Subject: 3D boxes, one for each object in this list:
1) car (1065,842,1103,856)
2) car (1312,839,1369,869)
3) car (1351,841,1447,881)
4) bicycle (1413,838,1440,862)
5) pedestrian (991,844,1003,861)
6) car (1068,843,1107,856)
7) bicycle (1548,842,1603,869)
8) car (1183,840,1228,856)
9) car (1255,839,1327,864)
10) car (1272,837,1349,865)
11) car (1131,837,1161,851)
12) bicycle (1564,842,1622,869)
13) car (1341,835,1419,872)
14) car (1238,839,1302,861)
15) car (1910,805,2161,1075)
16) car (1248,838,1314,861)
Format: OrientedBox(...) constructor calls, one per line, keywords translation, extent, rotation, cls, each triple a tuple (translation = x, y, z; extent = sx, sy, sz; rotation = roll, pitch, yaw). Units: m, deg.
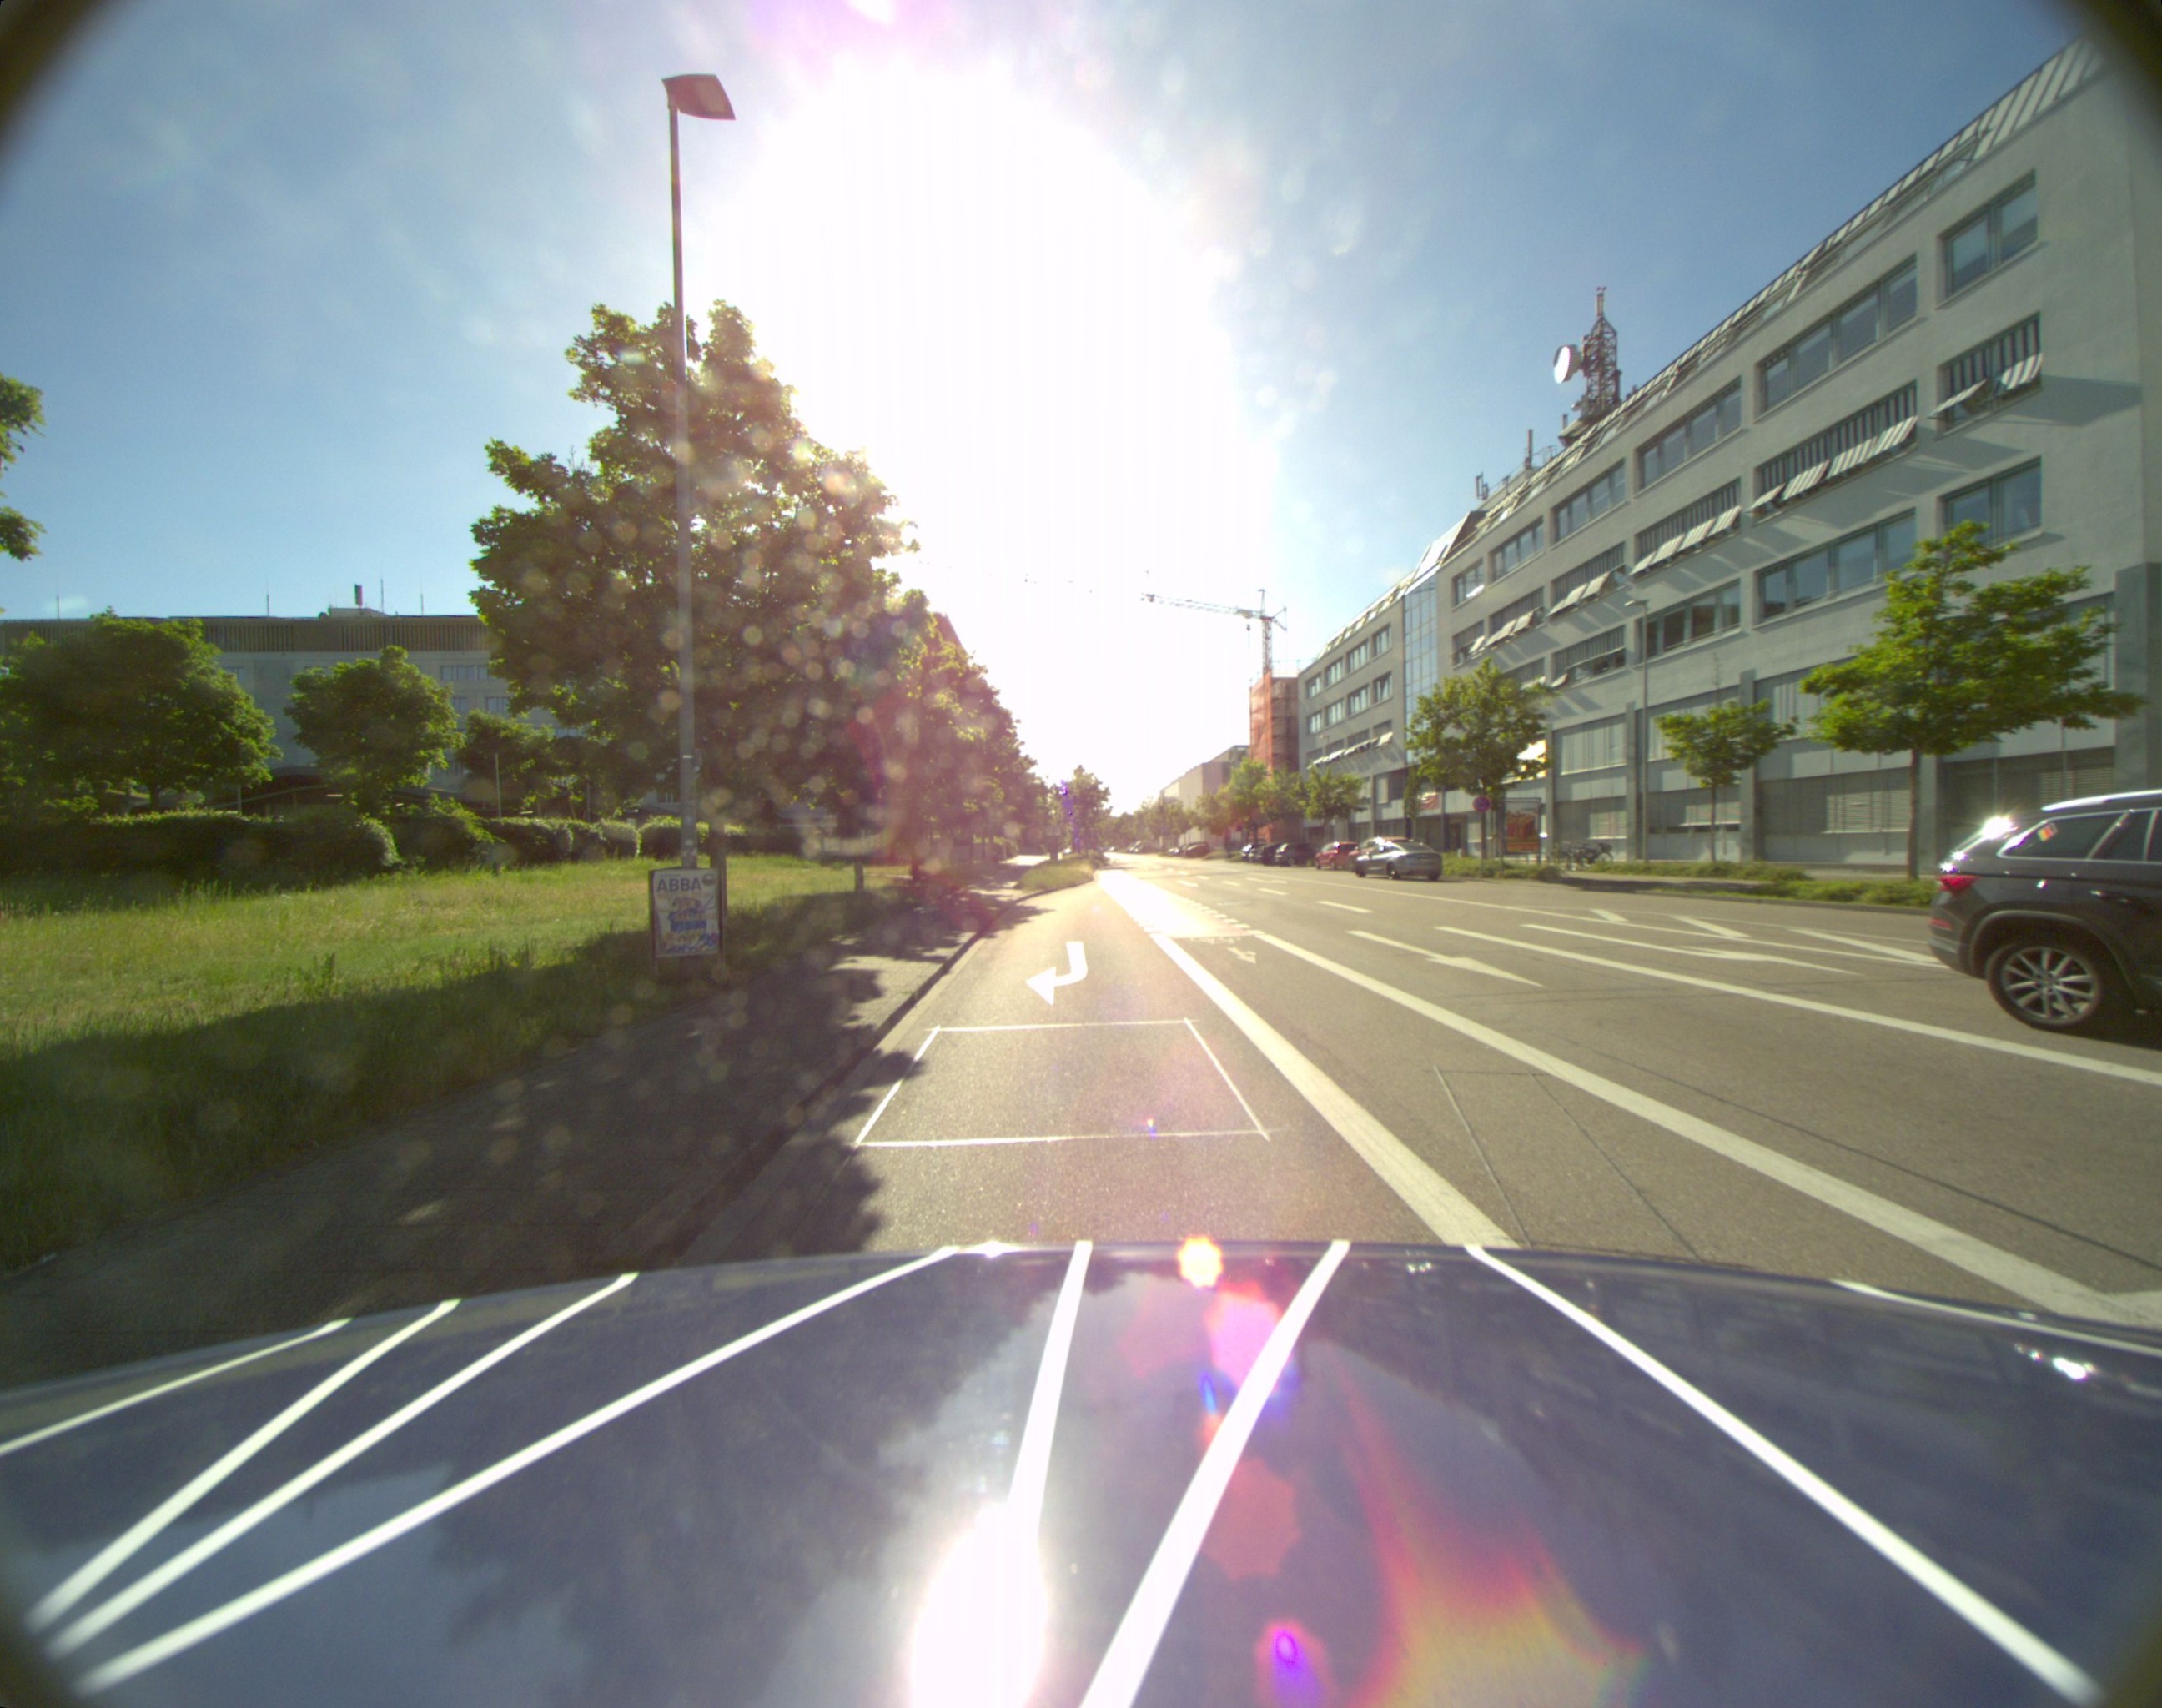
OrientedBox(translation=(0.357, -0.633, 89.098), extent=(4.413, 1.632, 2.074), rotation=(0, 1, -1), cls="car")
OrientedBox(translation=(13.993, -0.023, 41.212), extent=(1.692, 1.424, 3.870), rotation=(-3, 1, -1), cls="car")
OrientedBox(translation=(12.513, 0.221, 30.226), extent=(1.693, 1.460, 4.545), rotation=(0, 1, -4), cls="car")
OrientedBox(translation=(19.847, -0.234, 43.683), extent=(0.710, 1.339, 2.232), rotation=(0, 1, 5), cls="bicycle")
OrientedBox(translation=(-6.287, -0.125, 56.935), extent=(0.847, 1.210, 0.728), rotation=(0, 1, -13), cls="pedestrian")
OrientedBox(translation=(0.759, -0.484, 86.822), extent=(4.413, 1.455, 1.895), rotation=(0, 1, -1), cls="car")
OrientedBox(translation=(19.941, 0.054, 30.646), extent=(1.770, 1.063, 0.556), rotation=(0, 1, 7), cls="bicycle")
OrientedBox(translation=(13.497, -0.638, 82.241), extent=(4.398, 1.424, 1.976), rotation=(-3, 1, -4), cls="car")
OrientedBox(translation=(14.284, -0.174, 51.754), extent=(4.398, 1.424, 1.693), rotation=(-3, 1, -4), cls="car")
OrientedBox(translation=(14.684, -0.187, 48.710), extent=(4.398, 1.529, 1.692), rotation=(-3, 1, -5), cls="car")
OrientedBox(translation=(12.624, -1.994, 147.423), extent=(5.583, 2.468, 2.010), rotation=(-3, 1, 1), cls="car")
OrientedBox(translation=(20.133, 0.063, 29.876), extent=(1.792, 1.063, 0.621), rotation=(0, 1, 7), cls="bicycle")
OrientedBox(translation=(14.174, -0.044, 36.336), extent=(1.693, 1.598, 4.308), rotation=(-3, 1, -5), cls="car")
OrientedBox(translation=(14.446, -0.343, 58.179), extent=(4.396, 1.424, 1.693), rotation=(-3, 1, -1), cls="car")
OrientedBox(translation=(7.493, 0.513, 3.793), extent=(1.758, 1.619, 4.477), rotation=(-3, 1, -1), cls="car")
OrientedBox(translation=(14.731, -0.311, 56.140), extent=(4.397, 1.424, 1.693), rotation=(-3, 1, -1), cls="car")
